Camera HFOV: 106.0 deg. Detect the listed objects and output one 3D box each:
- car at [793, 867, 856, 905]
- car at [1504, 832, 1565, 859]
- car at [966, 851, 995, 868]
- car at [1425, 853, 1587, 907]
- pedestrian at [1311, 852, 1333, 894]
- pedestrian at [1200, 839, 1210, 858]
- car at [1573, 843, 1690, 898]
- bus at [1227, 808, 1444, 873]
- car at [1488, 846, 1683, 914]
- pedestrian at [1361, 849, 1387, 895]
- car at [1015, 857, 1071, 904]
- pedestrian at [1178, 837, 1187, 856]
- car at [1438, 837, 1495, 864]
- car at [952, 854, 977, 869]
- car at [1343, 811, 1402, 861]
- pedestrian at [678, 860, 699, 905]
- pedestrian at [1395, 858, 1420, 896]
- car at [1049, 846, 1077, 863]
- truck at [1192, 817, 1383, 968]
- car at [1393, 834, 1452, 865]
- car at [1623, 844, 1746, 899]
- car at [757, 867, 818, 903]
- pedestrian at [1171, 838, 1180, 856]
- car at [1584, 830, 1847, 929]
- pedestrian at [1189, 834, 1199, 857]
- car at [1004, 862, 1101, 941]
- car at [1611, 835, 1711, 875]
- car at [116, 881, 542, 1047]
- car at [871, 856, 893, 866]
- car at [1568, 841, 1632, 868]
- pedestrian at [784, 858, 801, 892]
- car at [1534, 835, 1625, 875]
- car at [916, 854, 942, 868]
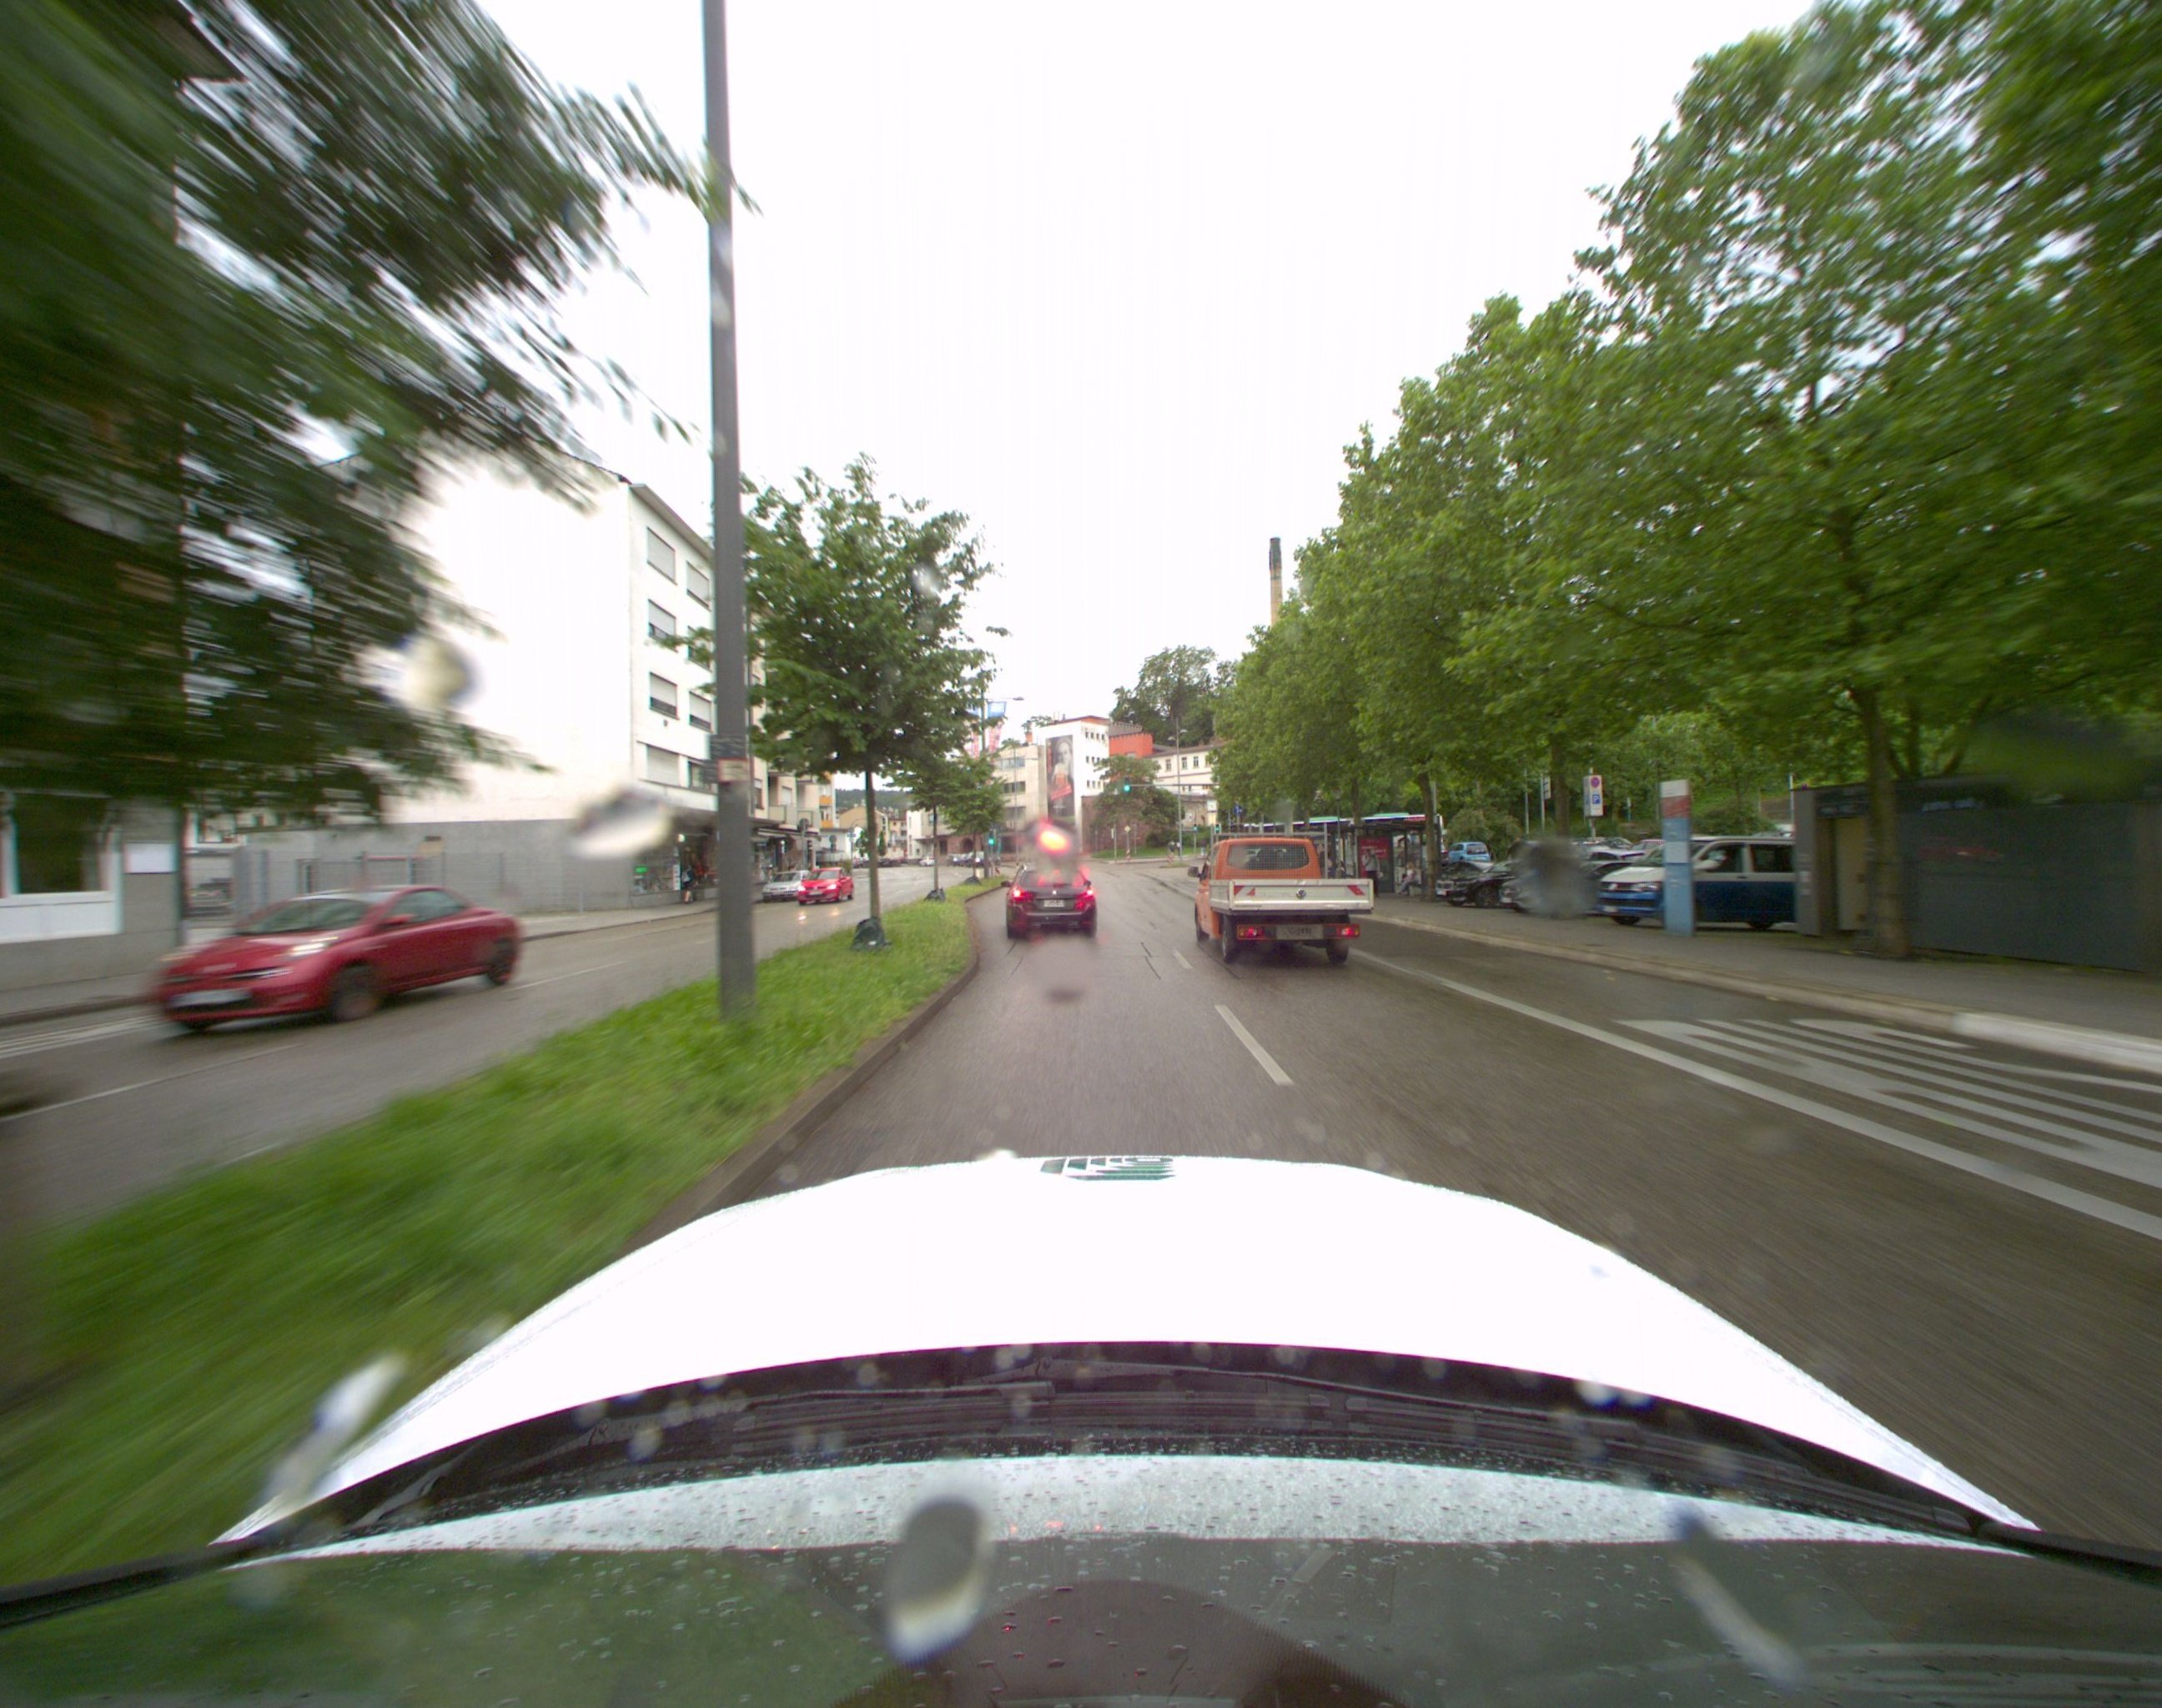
[{"bbox_3d":[-10.707,1.304,34.239,1.687,1.401,3.656,-1,0,-4],"label":"car"},{"bbox_3d":[27.888,-0.491,50.245,1.627,1.567,3.605,-1,0,-2],"label":"car"},{"bbox_3d":[-10.047,0.577,80.950,1.654,1.564,3.567,2,-3,-28],"label":"car"},{"bbox_3d":[12.653,0.743,24.415,3.974,1.509,1.743,1,0,-1],"label":"car"},{"bbox_3d":[9.983,0.784,33.749,0.722,1.700,0.622,-1,-1,-2],"label":"pedestrian"},{"bbox_3d":[10.954,-0.514,71.912,0.716,1.664,0.562,-3,1,-5],"label":"pedestrian"},{"bbox_3d":[21.521,0.693,32.021,1.900,2.014,3.718,1,-2,-6],"label":"car"},{"bbox_3d":[21.902,-1.138,70.592,17.864,5.211,3.097,-1,0,-1],"label":"bus"},{"bbox_3d":[13.202,0.652,21.494,3.974,1.650,1.917,1,0,-1],"label":"car"},{"bbox_3d":[10.847,0.659,30.188,0.722,1.700,0.622,-1,-1,-2],"label":"pedestrian"},{"bbox_3d":[-1.307,0.906,29.289,1.789,1.483,3.999,-2,0,0],"label":"car"},{"bbox_3d":[9.334,-0.686,75.047,0.638,1.664,0.562,-3,1,-5],"label":"pedestrian"},{"bbox_3d":[24.047,-0.222,50.924,1.677,1.618,3.647,-1,0,-2],"label":"car"},{"bbox_3d":[-12.747,0.869,89.232,1.653,1.564,3.568,2,-3,-26],"label":"car"},{"bbox_3d":[18.366,-1.086,51.502,2.067,2.970,4.223,-1,0,-2],"label":"car"},{"bbox_3d":[-16.450,1.204,34.157,0.638,1.861,0.523,-1,0,-5],"label":"pedestrian"},{"bbox_3d":[12.051,0.845,30.090,0.619,1.357,0.726,-1,-1,-1],"label":"pedestrian"},{"bbox_3d":[-1.830,0.109,81.904,1.651,1.564,3.573,2,-3,-22],"label":"car"},{"bbox_3d":[3.124,0.519,13.403,2.113,2.025,4.718,-1,0,2],"label":"truck"},{"bbox_3d":[21.384,-0.247,51.167,1.826,1.826,4.223,-1,0,-2],"label":"car"},{"bbox_3d":[23.824,0.739,32.318,1.900,2.014,3.718,1,-2,-6],"label":"car"},{"bbox_3d":[-13.924,1.456,38.861,1.774,1.525,3.656,-1,0,-4],"label":"car"},{"bbox_3d":[8.679,-0.664,74.964,0.638,1.664,0.562,-3,1,-5],"label":"pedestrian"},{"bbox_3d":[13.061,0.497,16.965,3.974,1.924,1.969,0,0,-1],"label":"car"},{"bbox_3d":[10.101,-0.735,72.668,0.716,1.992,0.562,-3,2,-5],"label":"pedestrian"},{"bbox_3d":[-0.543,0.908,17.205,1.789,1.483,3.999,0,-1,-1],"label":"car"},{"bbox_3d":[27.459,0.110,38.689,1.900,1.737,3.718,1,-2,-6],"label":"car"},{"bbox_3d":[-8.577,1.128,9.855,1.662,1.399,3.871,-3,0,-4],"label":"car"},{"bbox_3d":[-30.083,1.094,123.128,3.555,1.510,1.609,-1,-1,44],"label":"car"},{"bbox_3d":[32.339,0.050,50.857,1.627,1.567,3.605,-1,0,-2],"label":"car"},{"bbox_3d":[-17.480,1.294,49.303,0.731,2.014,0.650,3,-3,-37],"label":"pedestrian"},{"bbox_3d":[24.081,0.093,39.474,1.900,1.737,3.718,1,-2,-6],"label":"car"},{"bbox_3d":[-20.996,0.982,112.442,2.009,1.948,3.955,0,-1,-37],"label":"car"}]
